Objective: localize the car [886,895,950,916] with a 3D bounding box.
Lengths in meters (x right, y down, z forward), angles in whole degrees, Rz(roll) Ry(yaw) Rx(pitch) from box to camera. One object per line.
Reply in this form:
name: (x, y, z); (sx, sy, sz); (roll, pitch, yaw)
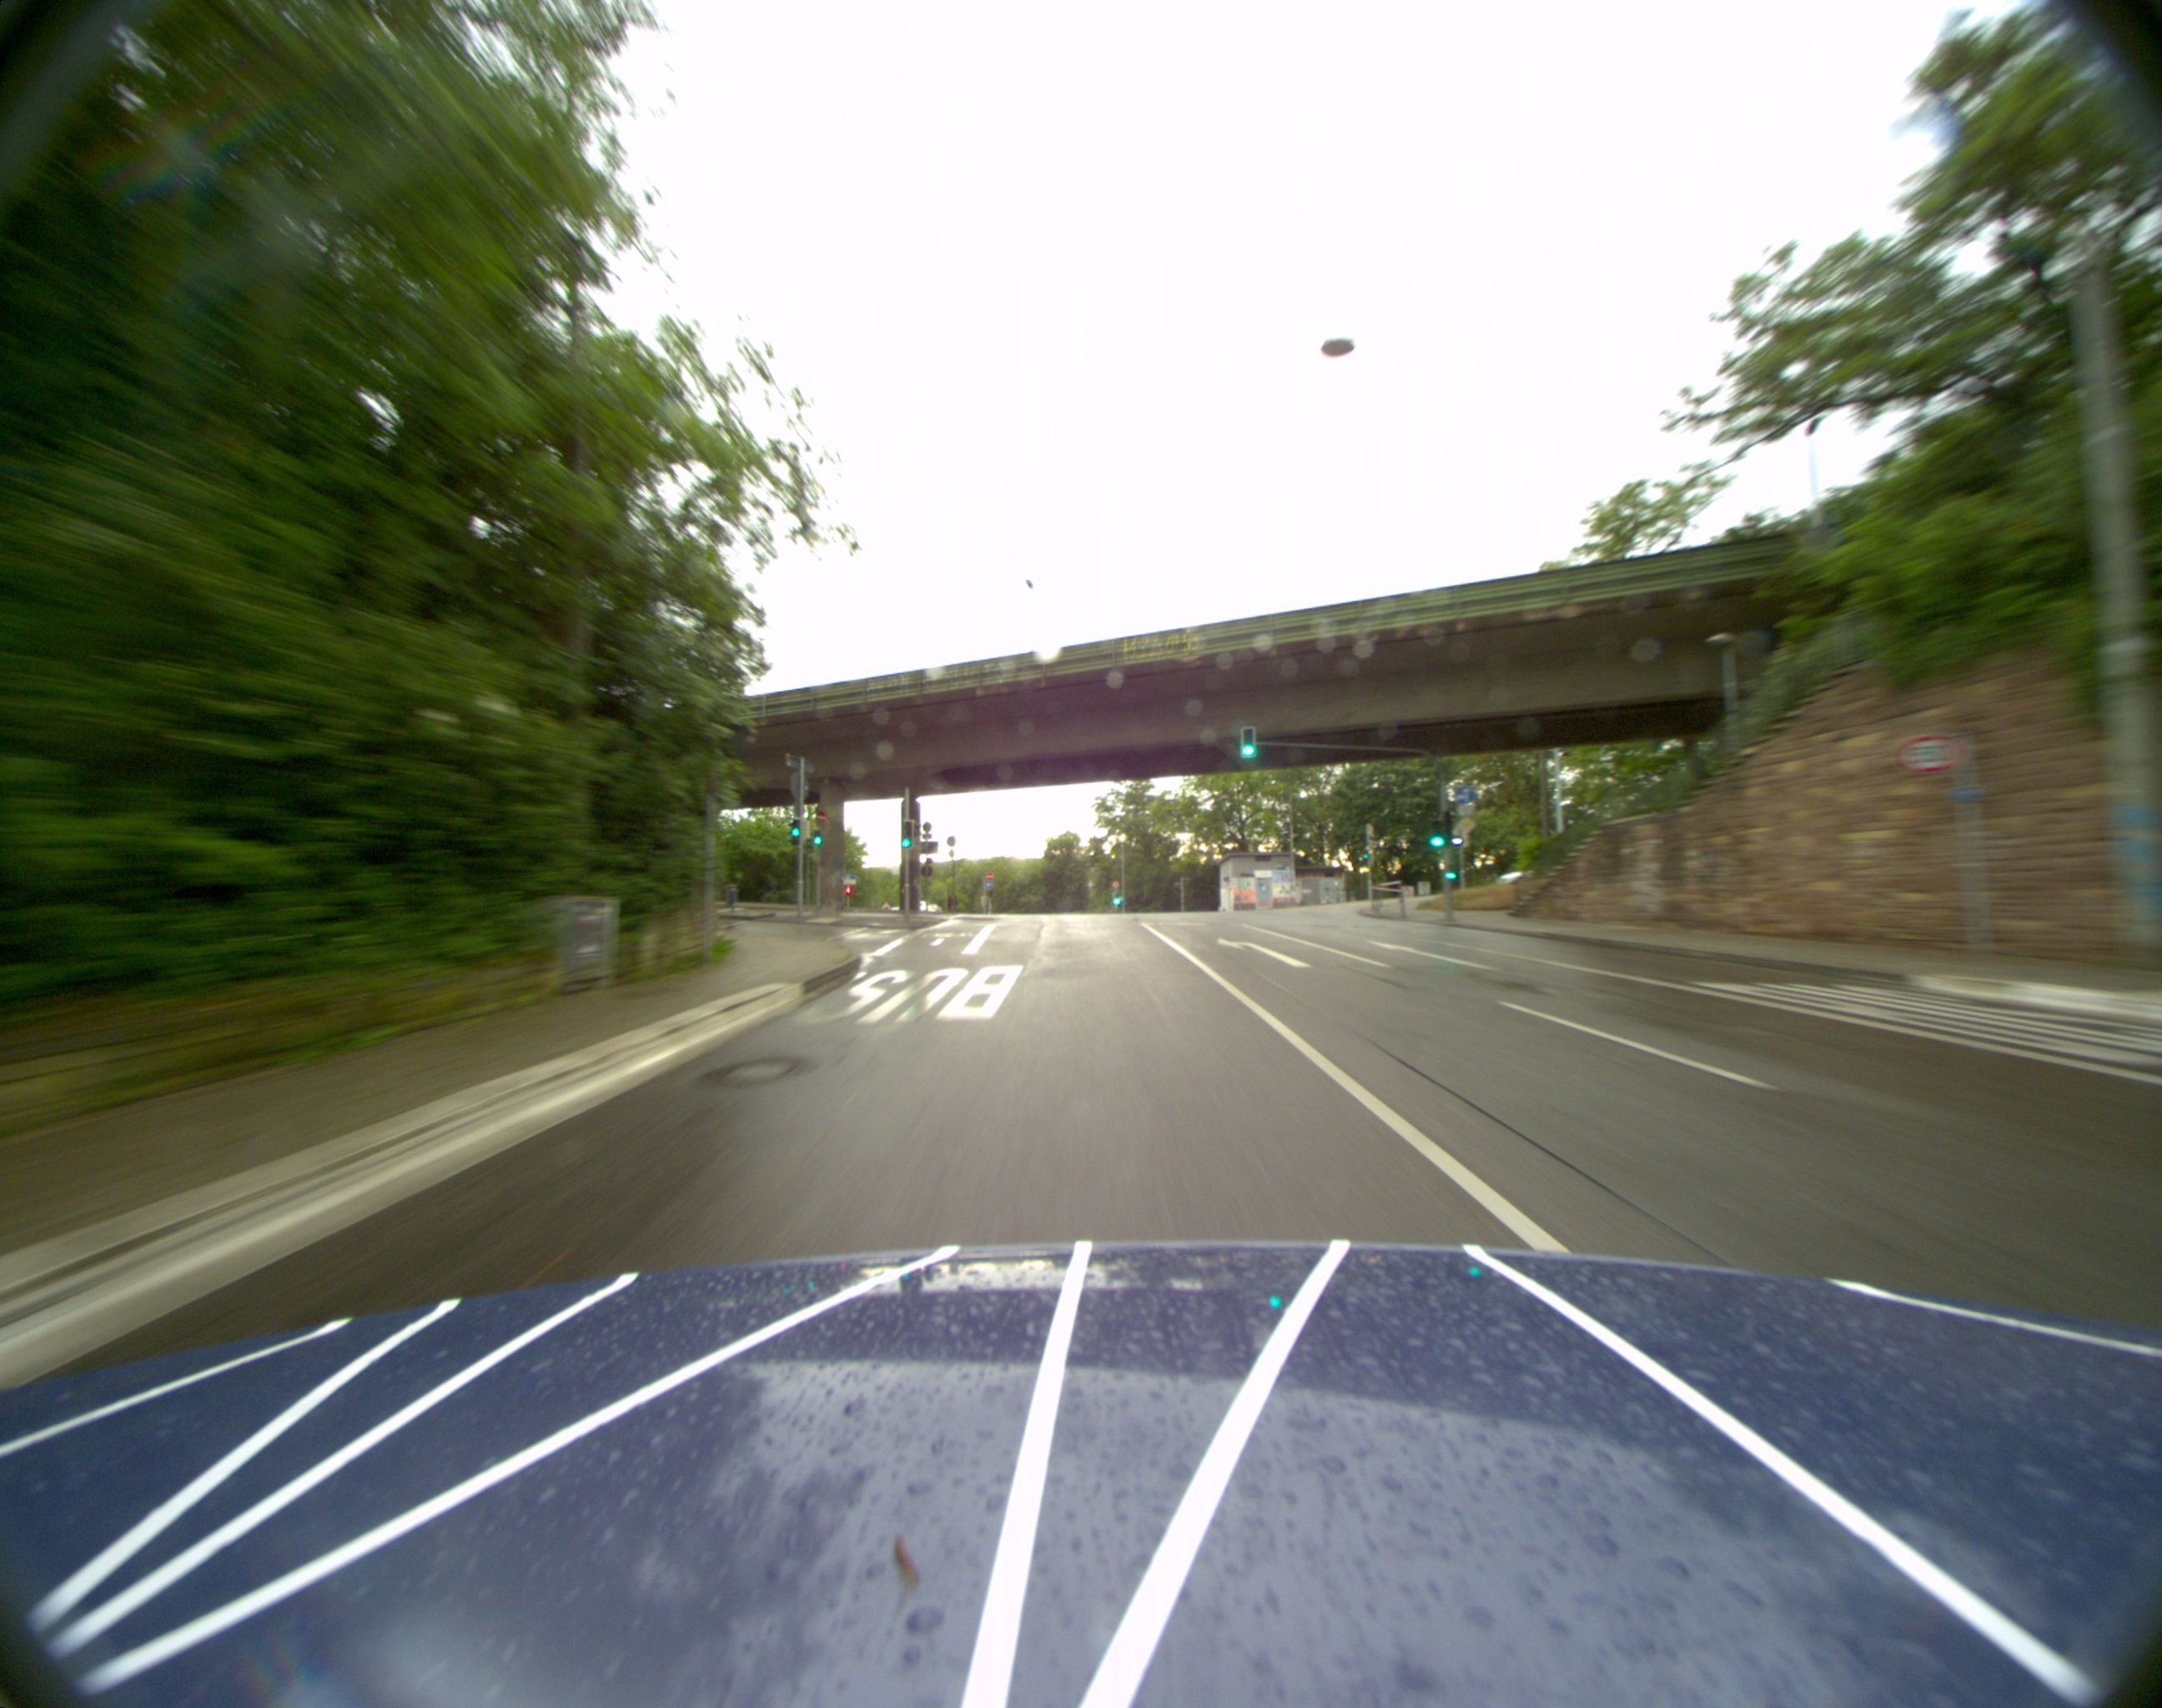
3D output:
car: (-11.331, 3.606, 52.944); (3.991, 1.302, 1.770); (-2, 0, 20)
